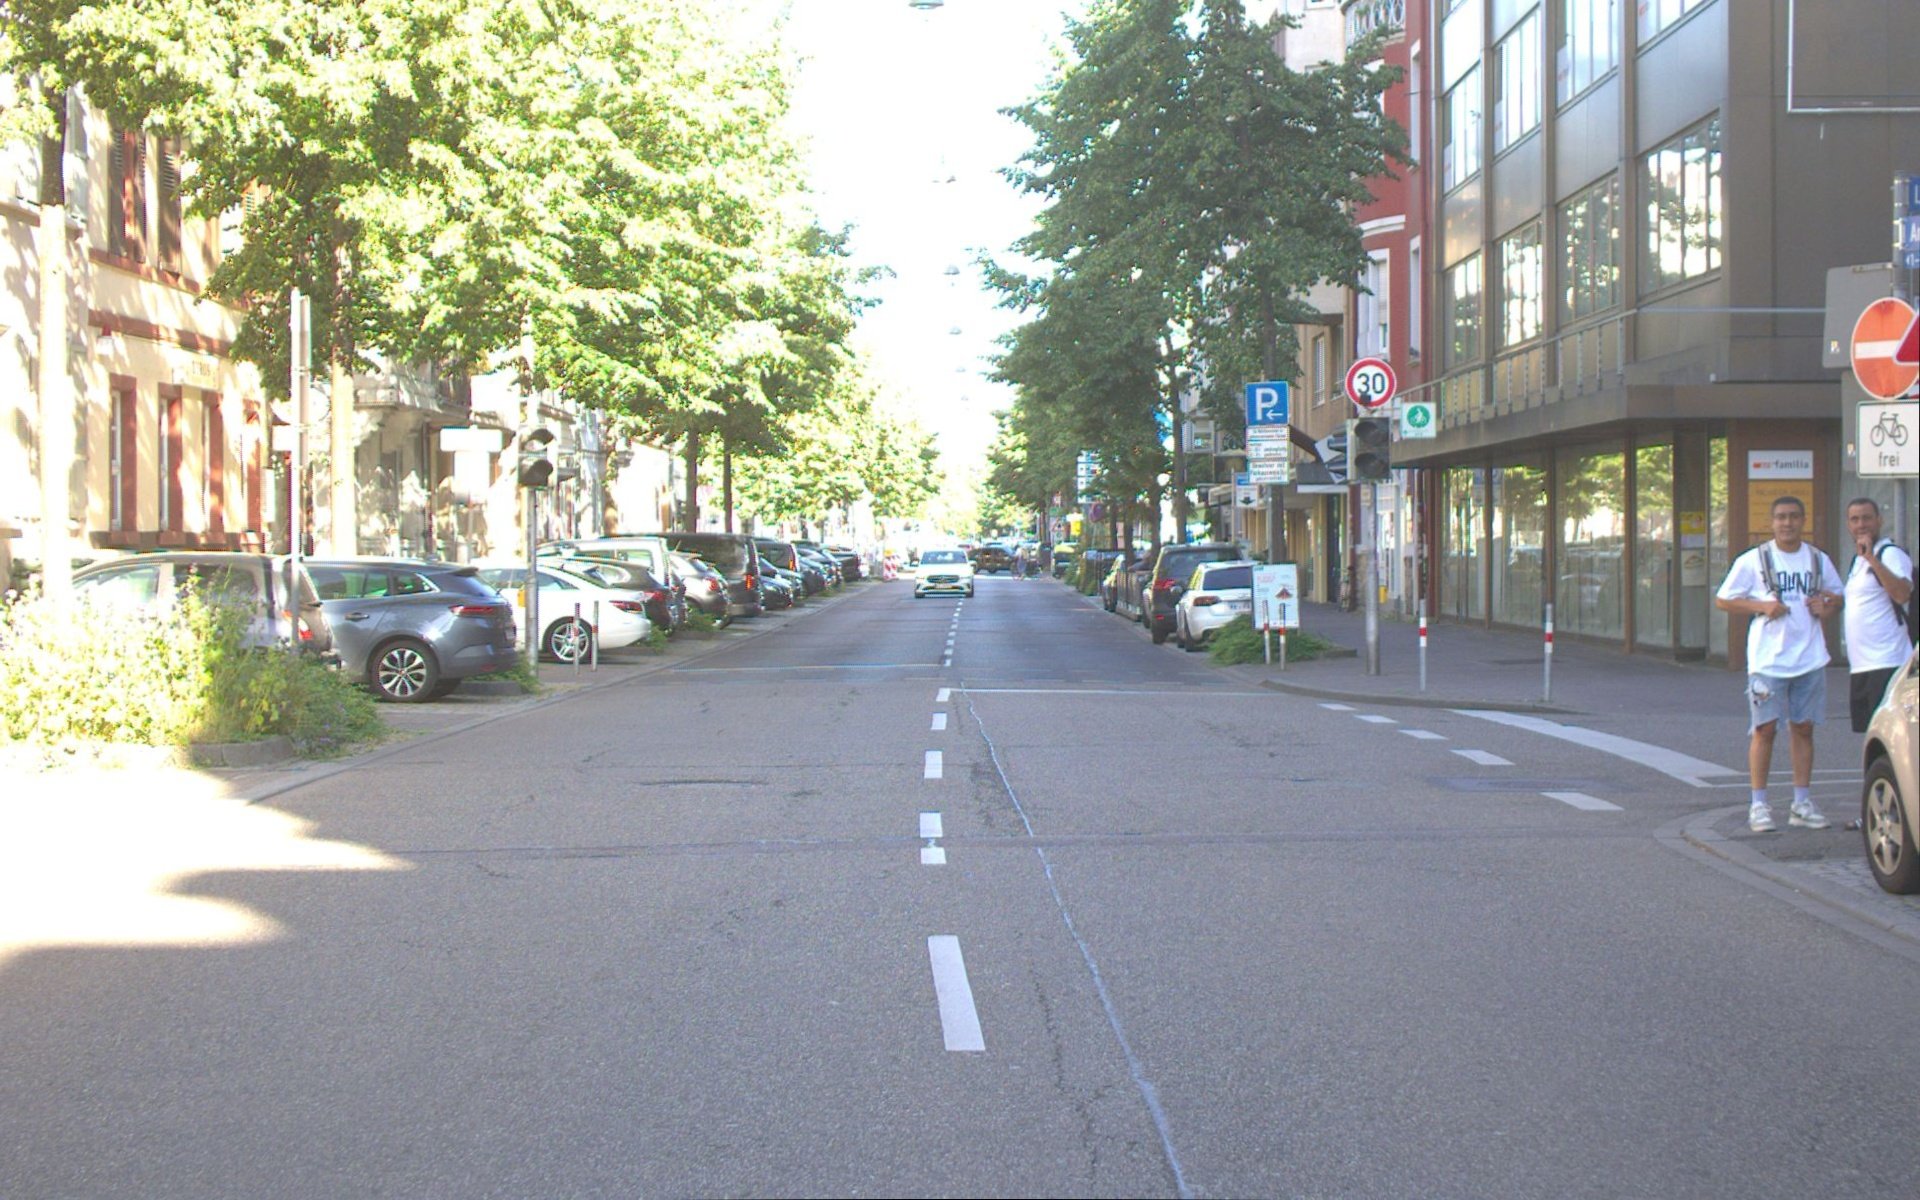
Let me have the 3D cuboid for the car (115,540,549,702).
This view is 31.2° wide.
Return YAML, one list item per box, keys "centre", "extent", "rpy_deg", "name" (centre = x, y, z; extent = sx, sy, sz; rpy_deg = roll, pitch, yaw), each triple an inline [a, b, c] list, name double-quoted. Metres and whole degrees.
- centre: [-6.337, 0.207, 35.016]
  extent: [3.987, 1.503, 2.000]
  rpy_deg: [1, 0, 1]
  name: "car"

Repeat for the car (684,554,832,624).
- centre: [-5.997, -0.335, 102.256]
  extent: [3.989, 2.007, 1.999]
  rpy_deg: [1, 1, 10]
  name: "car"

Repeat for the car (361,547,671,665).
- centre: [-6.146, 0.081, 47.880]
  extent: [3.987, 1.503, 2.000]
  rpy_deg: [1, 0, 1]
  name: "car"

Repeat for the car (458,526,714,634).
- centre: [-6.229, -0.331, 57.595]
  extent: [3.987, 1.668, 2.089]
  rpy_deg: [1, 0, 1]
  name: "car"

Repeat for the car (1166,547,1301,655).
- centre: [4.348, 0.026, 55.241]
  extent: [1.994, 1.612, 4.009]
  rpy_deg: [2, 0, 3]
  name: "car"

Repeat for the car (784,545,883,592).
- centre: [-5.531, -1.380, 150.357]
  extent: [3.989, 2.007, 1.999]
  rpy_deg: [1, 0, 10]
  name: "car"

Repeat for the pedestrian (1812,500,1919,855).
- centre: [4.745, 0.390, 17.579]
  extent: [0.513, 1.774, 0.611]
  rpy_deg: [1, 0, 38]
  name: "pedestrian"

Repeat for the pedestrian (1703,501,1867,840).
- centre: [4.322, 0.361, 18.001]
  extent: [0.615, 1.729, 0.632]
  rpy_deg: [1, 0, 34]
  name: "pedestrian"

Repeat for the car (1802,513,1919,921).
- centre: [4.885, 0.496, 13.582]
  extent: [1.899, 1.669, 4.825]
  rpy_deg: [1, 0, 0]
  name: "car"

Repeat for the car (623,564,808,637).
- centre: [-5.675, 0.001, 80.003]
  extent: [3.987, 1.503, 2.000]
  rpy_deg: [3, 0, 4]
  name: "car"

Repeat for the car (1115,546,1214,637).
- centre: [4.683, -0.189, 79.158]
  extent: [1.993, 2.007, 4.000]
  rpy_deg: [1, 0, 0]
  name: "car"

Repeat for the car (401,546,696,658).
- centre: [-5.955, 0.020, 50.074]
  extent: [3.987, 1.503, 2.000]
  rpy_deg: [1, 0, 1]
  name: "car"

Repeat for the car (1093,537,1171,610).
- centre: [4.876, -0.765, 98.116]
  extent: [1.993, 2.007, 4.000]
  rpy_deg: [-1, 1, 0]
  name: "car"

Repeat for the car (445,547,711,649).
- centre: [-6.086, -0.030, 55.108]
  extent: [3.987, 1.503, 2.000]
  rpy_deg: [1, 0, 1]
  name: "car"

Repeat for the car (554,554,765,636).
- centre: [-5.952, -0.097, 68.420]
  extent: [3.987, 1.503, 2.000]
  rpy_deg: [1, 0, 1]
  name: "car"

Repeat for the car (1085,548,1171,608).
- centre: [4.248, -0.574, 87.427]
  extent: [1.993, 1.448, 4.000]
  rpy_deg: [1, 1, 0]
  name: "car"

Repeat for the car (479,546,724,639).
- centre: [-6.212, -0.136, 59.909]
  extent: [3.987, 1.503, 2.000]
  rpy_deg: [1, 0, 1]
  name: "car"

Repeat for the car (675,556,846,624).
- centre: [-4.965, -0.239, 85.824]
  extent: [3.987, 1.503, 2.000]
  rpy_deg: [3, 0, 4]
  name: "car"

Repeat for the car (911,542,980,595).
- centre: [-0.432, -0.959, 106.672]
  extent: [1.993, 1.550, 4.000]
  rpy_deg: [1, 0, 1]
  name: "car"

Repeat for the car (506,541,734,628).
- centre: [-6.283, -0.285, 63.802]
  extent: [3.987, 1.503, 1.894]
  rpy_deg: [1, 0, 1]
  name: "car"

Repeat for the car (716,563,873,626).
- centre: [-4.483, -0.149, 93.292]
  extent: [3.987, 1.503, 2.000]
  rpy_deg: [3, 0, 4]
  name: "car"

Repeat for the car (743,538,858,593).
- centre: [-6.033, -1.321, 130.303]
  extent: [3.989, 2.007, 1.999]
  rpy_deg: [1, 0, 10]
  name: "car"

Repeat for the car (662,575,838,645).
- centre: [-5.075, 0.249, 83.480]
  extent: [3.987, 1.503, 2.000]
  rpy_deg: [3, 0, 4]
  name: "car"

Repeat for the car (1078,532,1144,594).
- centre: [5.017, -1.252, 114.936]
  extent: [1.993, 2.007, 4.000]
  rpy_deg: [1, 1, 0]
  name: "car"

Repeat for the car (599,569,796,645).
- centre: [-5.563, 0.156, 73.273]
  extent: [3.987, 1.503, 2.000]
  rpy_deg: [1, 0, 1]
  name: "car"

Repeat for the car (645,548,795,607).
- centre: [-6.895, -0.652, 99.050]
  extent: [3.988, 1.503, 2.000]
  rpy_deg: [3, 0, 5]
  name: "car"

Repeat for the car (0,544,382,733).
- centre: [-7.168, 0.302, 29.565]
  extent: [3.987, 1.503, 2.000]
  rpy_deg: [1, 0, 1]
  name: "car"
